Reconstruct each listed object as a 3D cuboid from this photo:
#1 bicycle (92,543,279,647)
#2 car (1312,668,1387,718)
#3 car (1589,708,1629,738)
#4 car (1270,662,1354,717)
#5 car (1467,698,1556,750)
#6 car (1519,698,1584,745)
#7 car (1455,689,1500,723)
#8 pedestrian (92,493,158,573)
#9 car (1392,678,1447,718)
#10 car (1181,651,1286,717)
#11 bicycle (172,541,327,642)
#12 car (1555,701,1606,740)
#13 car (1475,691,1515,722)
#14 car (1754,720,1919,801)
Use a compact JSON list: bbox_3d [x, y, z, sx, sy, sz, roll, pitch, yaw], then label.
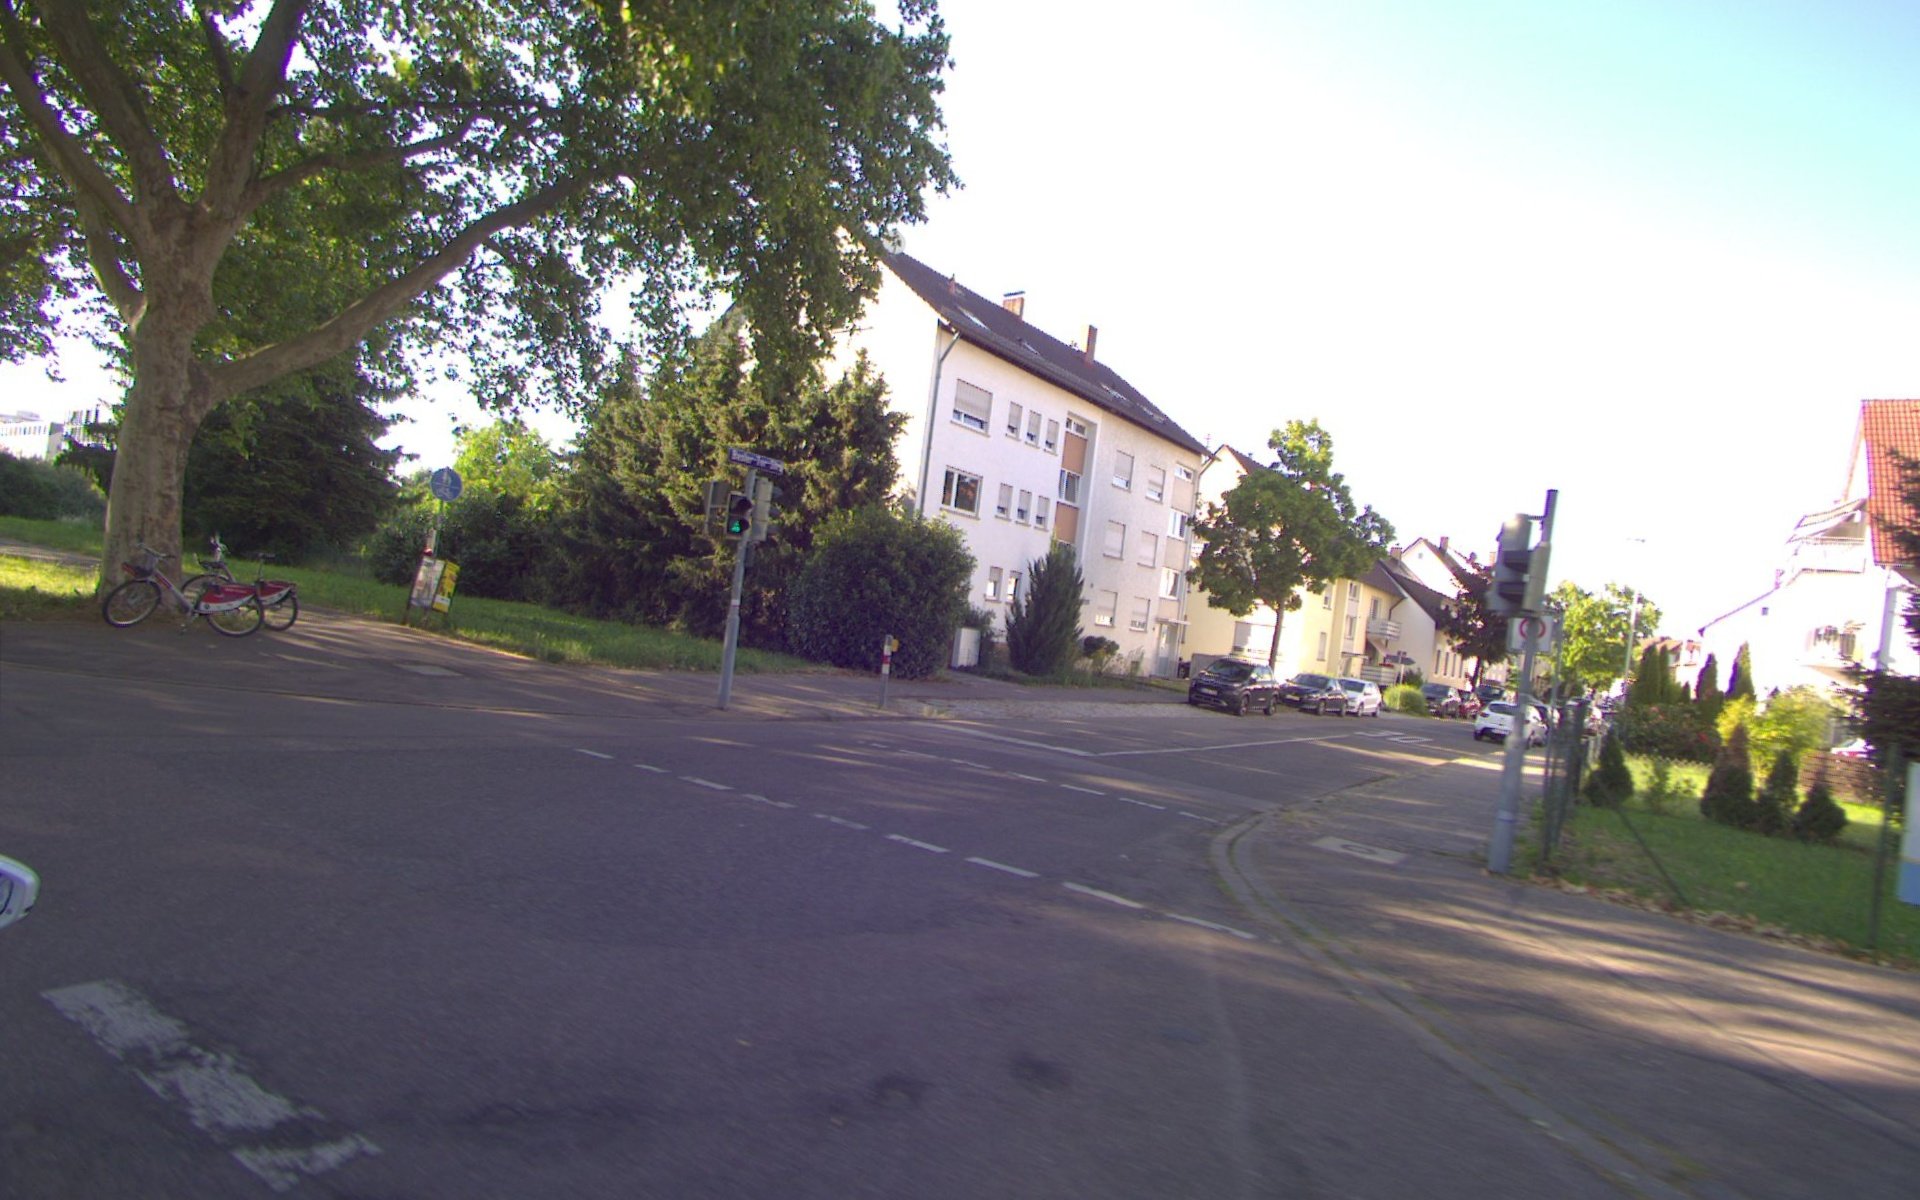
[{"bbox_3d":[-9.539,-0.056,12.452,1.698,1.048,0.444,8,2,-23],"label":"bicycle"},{"bbox_3d":[16.080,3.847,41.466,1.838,1.614,3.750,11,1,35],"label":"car"},{"bbox_3d":[40.521,7.644,62.762,1.641,1.536,3.552,7,0,38],"label":"car"},{"bbox_3d":[13.252,3.382,37.754,1.838,1.614,3.750,11,1,35],"label":"car"},{"bbox_3d":[19.048,4.285,34.694,1.808,1.410,3.548,8,0,42],"label":"car"},{"bbox_3d":[23.552,4.855,40.004,1.641,1.529,3.554,8,-2,38],"label":"car"},{"bbox_3d":[29.001,5.929,56.342,1.674,1.614,3.583,7,-1,35],"label":"car"},{"bbox_3d":[-19.059,-1.533,22.956,0.923,1.670,0.780,7,1,32],"label":"pedestrian"},{"bbox_3d":[23.042,4.900,50.359,1.673,1.614,3.583,11,1,35],"label":"car"},{"bbox_3d":[8.627,2.658,31.527,1.838,1.614,3.750,11,1,35],"label":"car"},{"bbox_3d":[-9.780,-0.126,13.844,1.970,1.097,0.446,8,2,12],"label":"bicycle"},{"bbox_3d":[30.688,5.940,49.705,1.641,1.643,3.552,7,-1,38],"label":"car"},{"bbox_3d":[32.964,6.528,61.953,1.674,1.614,3.583,7,-1,35],"label":"car"},{"bbox_3d":[23.260,4.212,26.375,1.696,1.437,3.540,10,-2,-44],"label":"car"}]
